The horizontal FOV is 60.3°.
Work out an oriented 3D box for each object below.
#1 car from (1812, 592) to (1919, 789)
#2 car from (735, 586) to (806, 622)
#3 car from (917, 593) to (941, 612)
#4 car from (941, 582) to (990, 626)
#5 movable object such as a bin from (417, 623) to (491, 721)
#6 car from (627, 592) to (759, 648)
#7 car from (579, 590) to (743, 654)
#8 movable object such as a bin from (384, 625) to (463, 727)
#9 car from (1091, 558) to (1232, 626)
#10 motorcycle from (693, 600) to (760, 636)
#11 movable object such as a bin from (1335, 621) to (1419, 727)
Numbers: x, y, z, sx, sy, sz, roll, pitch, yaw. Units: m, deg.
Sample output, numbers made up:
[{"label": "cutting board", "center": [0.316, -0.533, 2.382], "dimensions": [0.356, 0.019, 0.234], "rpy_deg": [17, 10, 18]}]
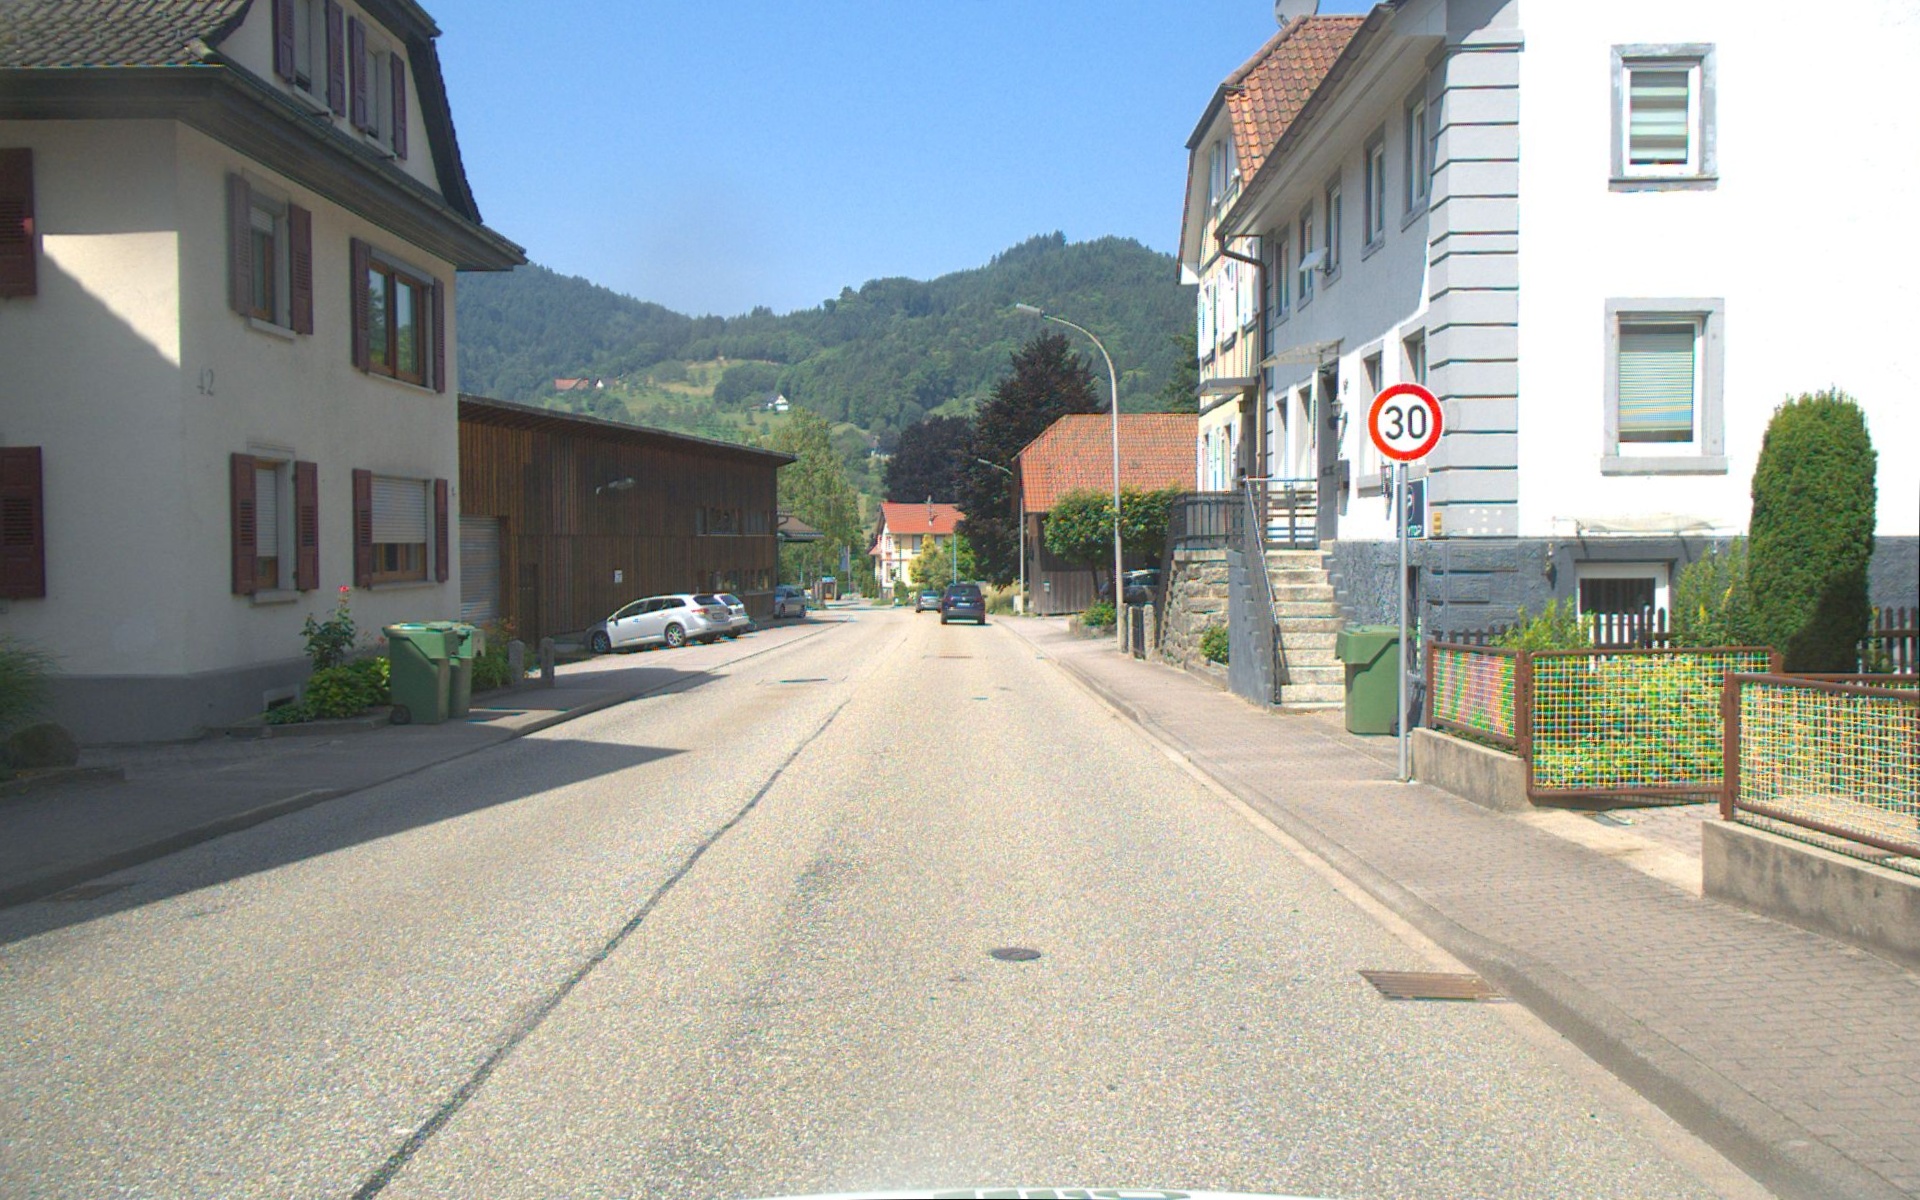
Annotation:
[{"label": "car", "center": [9.868, 0.823, 14.438], "dimensions": [3.877, 1.618, 1.800], "rpy_deg": [2, 0, 2]}, {"label": "car", "center": [-8.574, 0.159, 75.140], "dimensions": [1.692, 1.479, 4.809], "rpy_deg": [0, 1, 13]}, {"label": "car", "center": [-2.103, 0.191, 111.733], "dimensions": [1.448, 1.230, 2.381], "rpy_deg": [-2, 0, -5]}, {"label": "car", "center": [0.200, 0.152, 67.613], "dimensions": [1.880, 1.728, 3.788], "rpy_deg": [-1, 0, -1]}, {"label": "movable object such as a bin", "center": [-5.837, 0.825, 19.103], "dimensions": [0.662, 1.085, 0.621], "rpy_deg": [-1, 0, -2]}, {"label": "car", "center": [-8.300, 0.621, 51.531], "dimensions": [3.582, 1.409, 1.712], "rpy_deg": [-5, 0, 15]}, {"label": "car", "center": [-8.766, 0.646, 48.483], "dimensions": [4.342, 1.500, 1.923], "rpy_deg": [-4, 0, 25]}, {"label": "movable object such as a bin", "center": [-5.917, 0.831, 18.278], "dimensions": [0.662, 1.085, 0.653], "rpy_deg": [-1, 0, -2]}, {"label": "car", "center": [6.286, -0.250, 51.904], "dimensions": [4.134, 1.716, 1.777], "rpy_deg": [-5, 0, 3]}, {"label": "motorcycle", "center": [-8.743, 0.688, 61.944], "dimensions": [2.357, 1.286, 0.744], "rpy_deg": [-1, 0, 9]}, {"label": "movable object such as a bin", "center": [4.215, 0.740, 16.759], "dimensions": [0.690, 1.038, 0.618], "rpy_deg": [-1, 0, 0]}]
